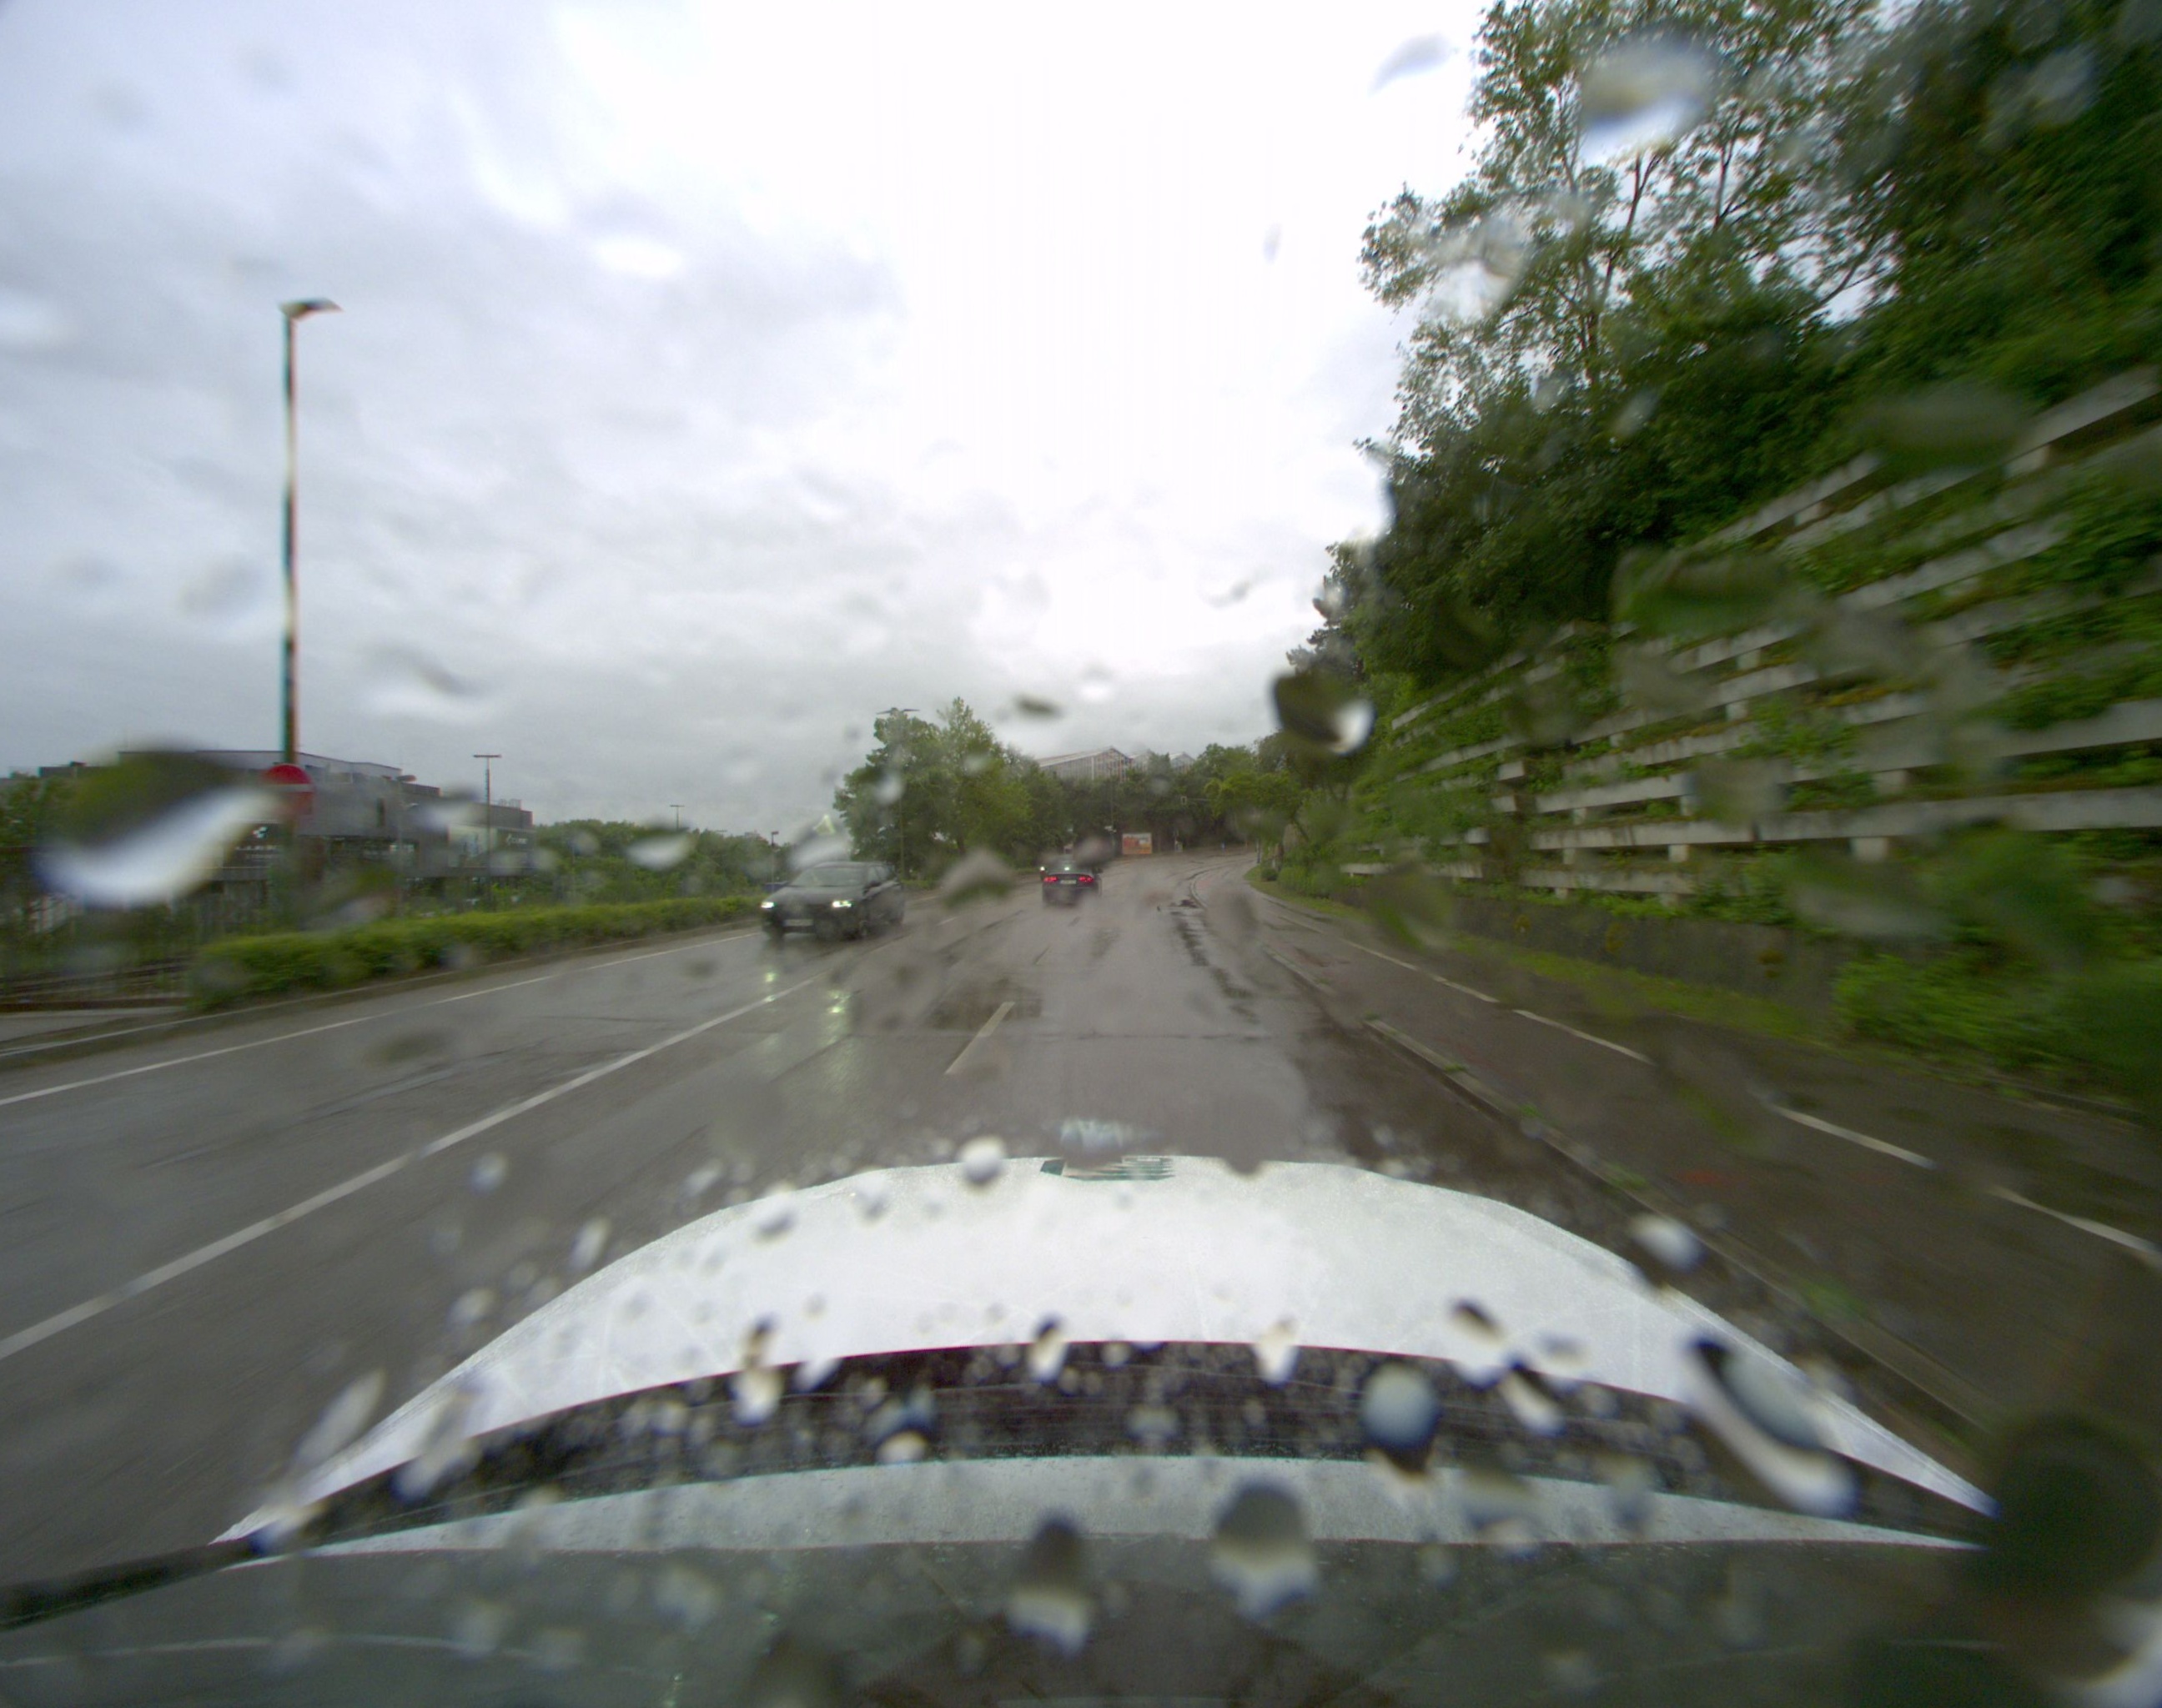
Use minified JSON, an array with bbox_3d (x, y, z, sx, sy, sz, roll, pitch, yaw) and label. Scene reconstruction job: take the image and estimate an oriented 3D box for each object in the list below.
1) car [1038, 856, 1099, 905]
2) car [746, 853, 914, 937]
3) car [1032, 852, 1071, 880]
[{"bbox_3d":[-0.356,0.811,27.044,1.747,1.395,4.003,-1,1,3],"label":"car"},{"bbox_3d":[-4.895,0.719,16.605,1.715,1.462,4.548,0,0,4],"label":"car"},{"bbox_3d":[-1.690,0.677,48.216,1.745,1.535,4.007,-1,1,6],"label":"car"}]
